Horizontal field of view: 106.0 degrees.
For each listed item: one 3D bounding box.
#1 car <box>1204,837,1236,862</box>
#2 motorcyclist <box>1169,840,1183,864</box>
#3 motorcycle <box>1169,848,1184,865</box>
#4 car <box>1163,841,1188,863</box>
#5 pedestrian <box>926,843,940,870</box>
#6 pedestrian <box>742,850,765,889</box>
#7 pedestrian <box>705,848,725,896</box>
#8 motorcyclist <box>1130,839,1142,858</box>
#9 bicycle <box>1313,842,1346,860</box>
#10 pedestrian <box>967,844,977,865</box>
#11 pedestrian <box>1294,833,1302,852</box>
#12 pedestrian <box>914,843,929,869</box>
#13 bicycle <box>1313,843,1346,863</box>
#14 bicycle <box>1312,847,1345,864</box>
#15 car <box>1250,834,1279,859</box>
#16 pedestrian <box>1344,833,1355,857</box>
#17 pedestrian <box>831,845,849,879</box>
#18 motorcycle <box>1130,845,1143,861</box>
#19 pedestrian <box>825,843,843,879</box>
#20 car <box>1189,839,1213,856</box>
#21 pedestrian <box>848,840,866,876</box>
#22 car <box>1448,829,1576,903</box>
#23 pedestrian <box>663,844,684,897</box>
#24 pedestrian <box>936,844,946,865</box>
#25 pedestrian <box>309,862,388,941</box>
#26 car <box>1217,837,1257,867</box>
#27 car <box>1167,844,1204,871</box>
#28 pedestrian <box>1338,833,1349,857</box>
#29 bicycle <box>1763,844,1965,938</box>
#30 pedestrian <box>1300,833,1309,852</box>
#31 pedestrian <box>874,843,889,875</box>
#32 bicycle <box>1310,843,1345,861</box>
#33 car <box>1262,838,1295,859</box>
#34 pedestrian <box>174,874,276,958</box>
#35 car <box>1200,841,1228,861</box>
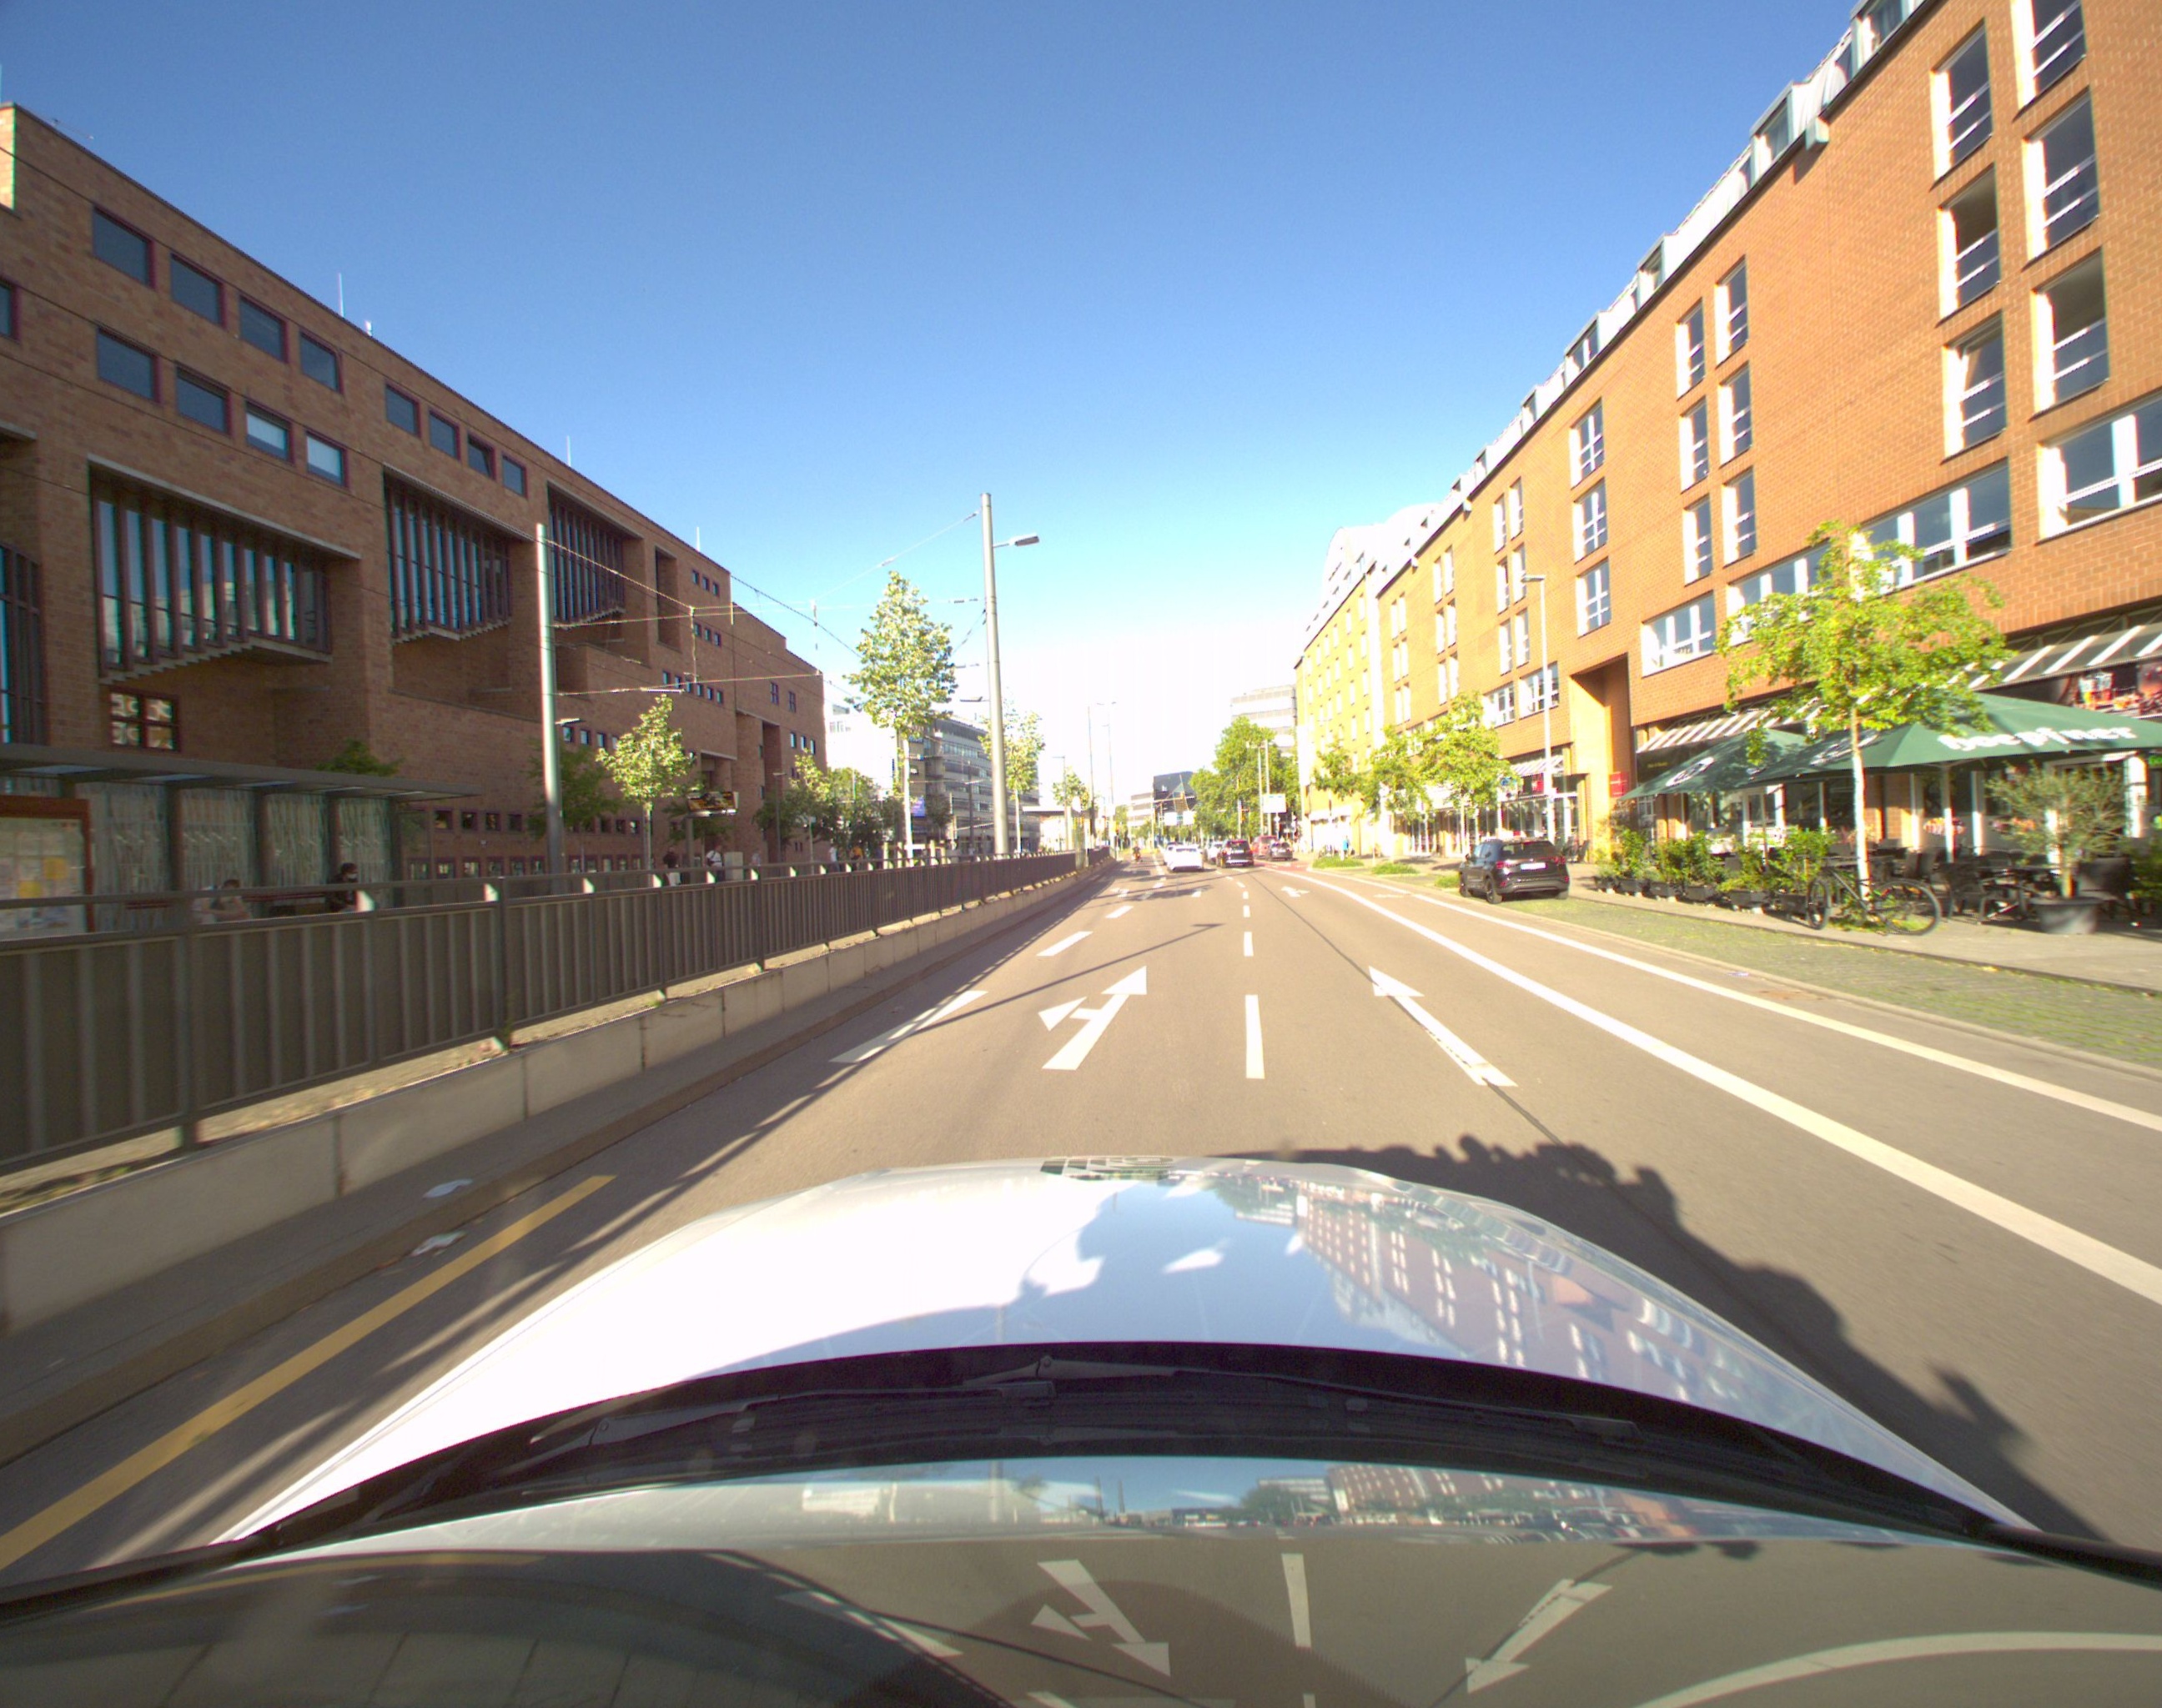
[{"bbox_3d":[9.863,-0.294,58.085,1.842,1.640,4.384,-1,-1,5],"label":"car"},{"bbox_3d":[6.268,-0.140,53.794,0.834,1.475,1.237,-2,1,3],"label":"motorcyclist"},{"bbox_3d":[6.294,0.162,53.833,0.834,1.062,2.555,-2,1,4],"label":"motorcycle"},{"bbox_3d":[6.845,-0.172,59.432,1.684,1.496,4.415,0,1,5],"label":"car"},{"bbox_3d":[-9.226,0.162,50.716,0.637,1.643,0.947,0,1,5],"label":"pedestrian"},{"bbox_3d":[-12.445,0.582,30.938,0.536,1.459,0.643,0,1,5],"label":"pedestrian"},{"bbox_3d":[-12.651,0.609,28.141,0.376,1.621,0.554,0,1,5],"label":"pedestrian"},{"bbox_3d":[4.828,-0.495,70.939,1.014,1.603,1.150,0,1,5],"label":"motorcyclist"},{"bbox_3d":[15.744,-0.192,51.629,1.930,1.075,0.557,-3,0,15],"label":"bicycle"},{"bbox_3d":[-9.338,0.031,70.056,0.611,1.817,0.898,-1,1,5],"label":"pedestrian"},{"bbox_3d":[22.032,-1.171,82.714,0.603,1.821,0.749,-2,0,4],"label":"pedestrian"},{"bbox_3d":[-9.961,0.117,50.799,0.637,1.608,0.947,0,1,5],"label":"pedestrian"},{"bbox_3d":[15.901,-0.048,52.140,1.930,1.137,0.493,-3,0,15],"label":"bicycle"},{"bbox_3d":[15.483,0.104,50.936,1.928,0.969,0.557,-3,0,22],"label":"bicycle"},{"bbox_3d":[15.492,-0.661,68.831,1.851,1.961,4.007,-2,1,6],"label":"car"},{"bbox_3d":[20.589,-0.710,62.454,0.603,1.821,0.749,-2,0,4],"label":"pedestrian"},{"bbox_3d":[-11.816,0.387,39.999,0.620,1.611,0.617,-1,1,5],"label":"pedestrian"},{"bbox_3d":[4.833,-0.097,70.891,1.014,1.312,2.919,0,1,5],"label":"motorcycle"},{"bbox_3d":[-11.899,0.319,39.233,0.620,1.714,0.617,-1,0,5],"label":"pedestrian"},{"bbox_3d":[11.035,-0.637,75.037,1.842,1.497,4.385,-2,1,5],"label":"car"},{"bbox_3d":[-10.550,0.168,38.394,0.637,1.695,0.542,0,1,5],"label":"pedestrian"},{"bbox_3d":[11.016,0.249,21.134,1.710,1.636,4.244,-3,0,11],"label":"car"},{"bbox_3d":[-12.763,0.512,25.511,0.376,1.648,0.416,0,1,5],"label":"pedestrian"},{"bbox_3d":[-10.586,0.032,61.774,0.560,1.609,0.617,-1,1,5],"label":"pedestrian"},{"bbox_3d":[-13.013,0.828,14.485,0.643,1.309,0.722,-4,0,5],"label":"pedestrian"},{"bbox_3d":[9.614,-0.138,50.467,1.965,1.759,4.639,0,1,5],"label":"car"},{"bbox_3d":[5.728,0.162,45.130,1.772,1.414,4.825,0,1,5],"label":"car"},{"bbox_3d":[19.822,-0.672,61.480,0.603,1.821,0.749,-2,0,4],"label":"pedestrian"},{"bbox_3d":[10.638,0.476,11.192,0.763,1.081,1.998,-7,-1,1],"label":"bicycle"},{"bbox_3d":[21.047,-1.069,76.635,0.603,1.821,0.749,-2,0,4],"label":"pedestrian"},{"bbox_3d":[-11.111,0.269,45.314,0.579,1.738,0.617,-1,0,5],"label":"pedestrian"},{"bbox_3d":[15.267,-0.124,50.435,1.928,1.022,0.504,-3,0,22],"label":"bicycle"},{"bbox_3d":[15.071,-0.447,62.331,1.838,1.560,4.639,0,1,5],"label":"car"},{"bbox_3d":[-13.056,0.931,12.441,0.718,1.168,0.722,-4,0,4],"label":"pedestrian"},{"bbox_3d":[10.569,-0.244,64.837,1.842,1.497,4.385,-2,1,5],"label":"car"}]
